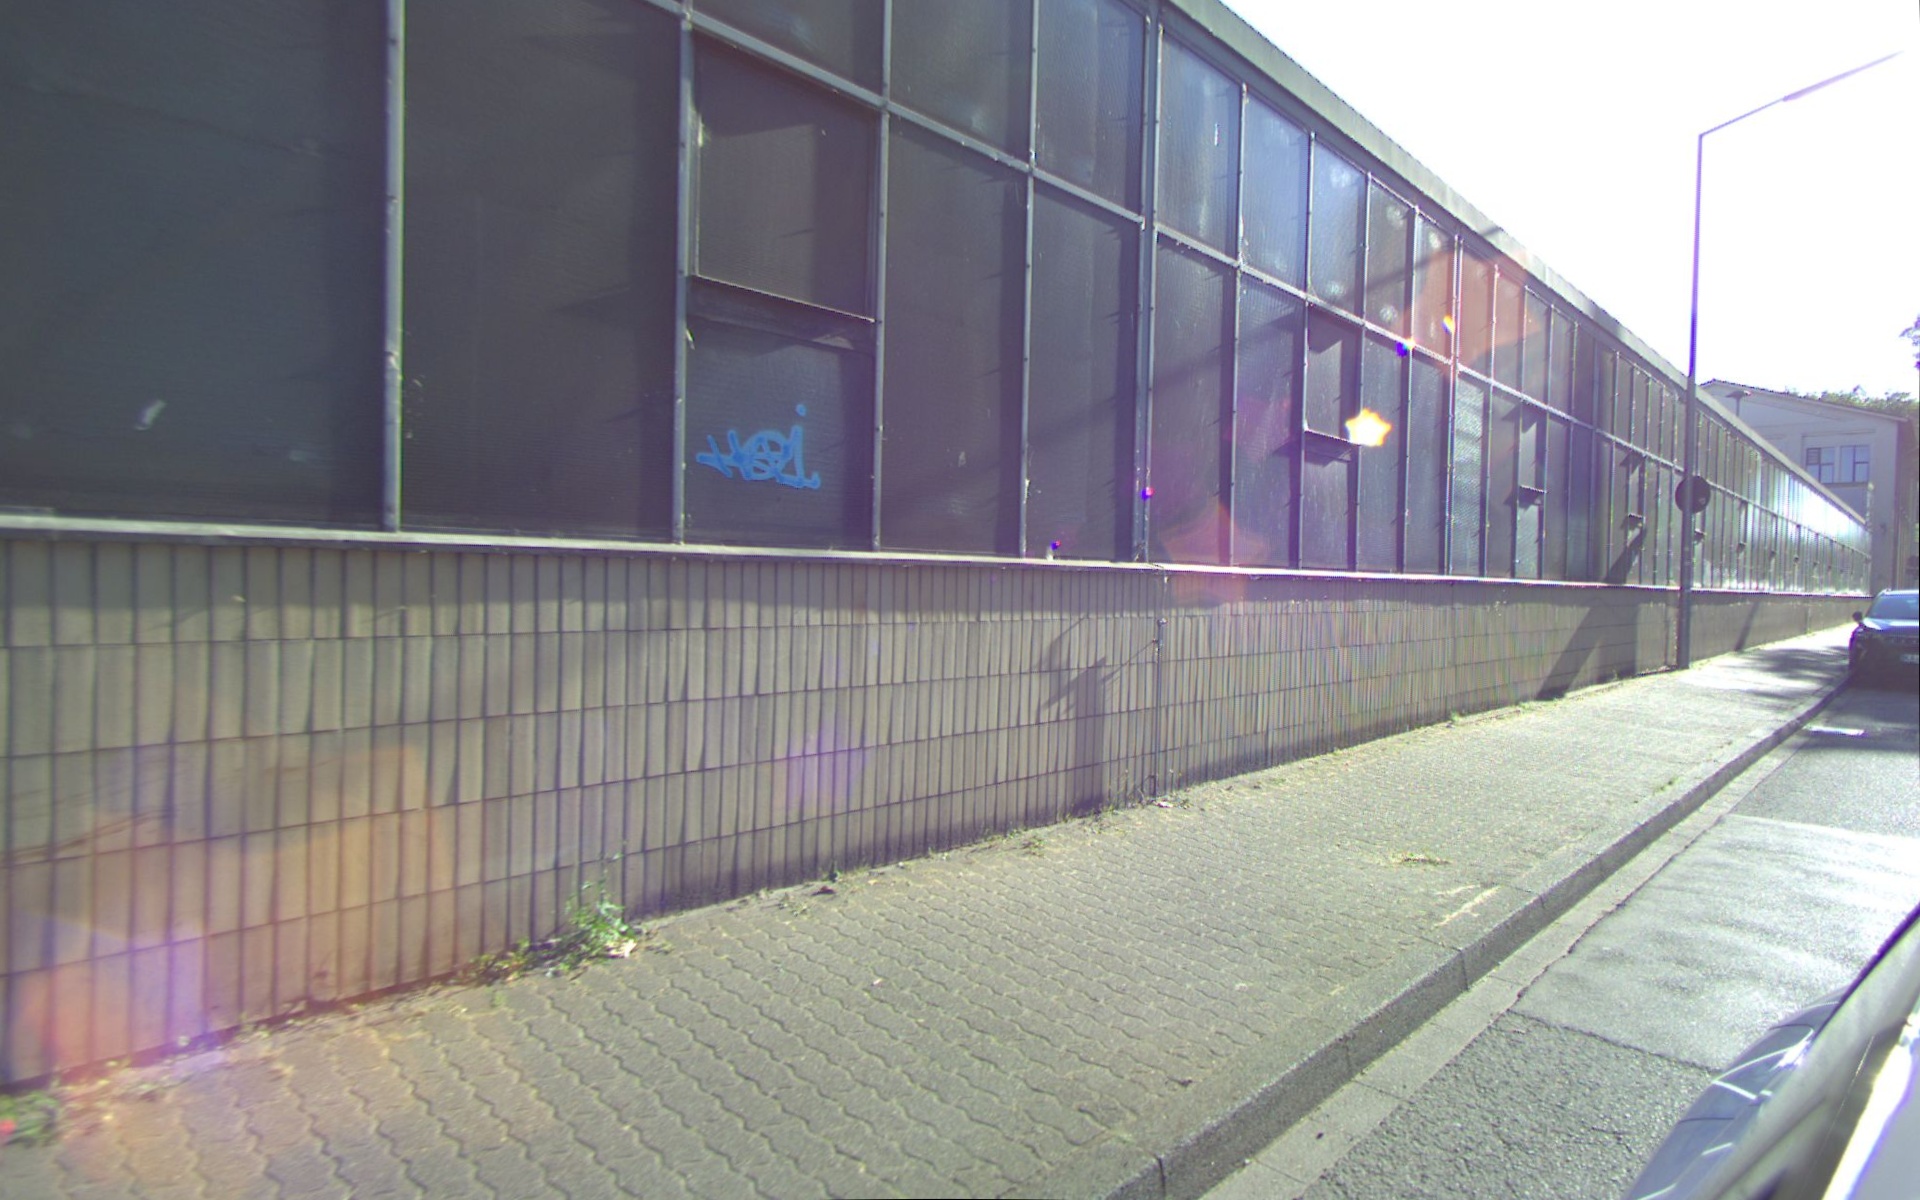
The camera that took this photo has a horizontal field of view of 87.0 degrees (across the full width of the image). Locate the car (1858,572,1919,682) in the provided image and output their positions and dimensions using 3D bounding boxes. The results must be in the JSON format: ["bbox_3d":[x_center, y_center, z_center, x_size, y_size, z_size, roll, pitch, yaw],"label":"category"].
[{"bbox_3d":[16.094,0.350,16.576,1.806,1.607,4.336,-4,-1,44],"label":"car"}]
